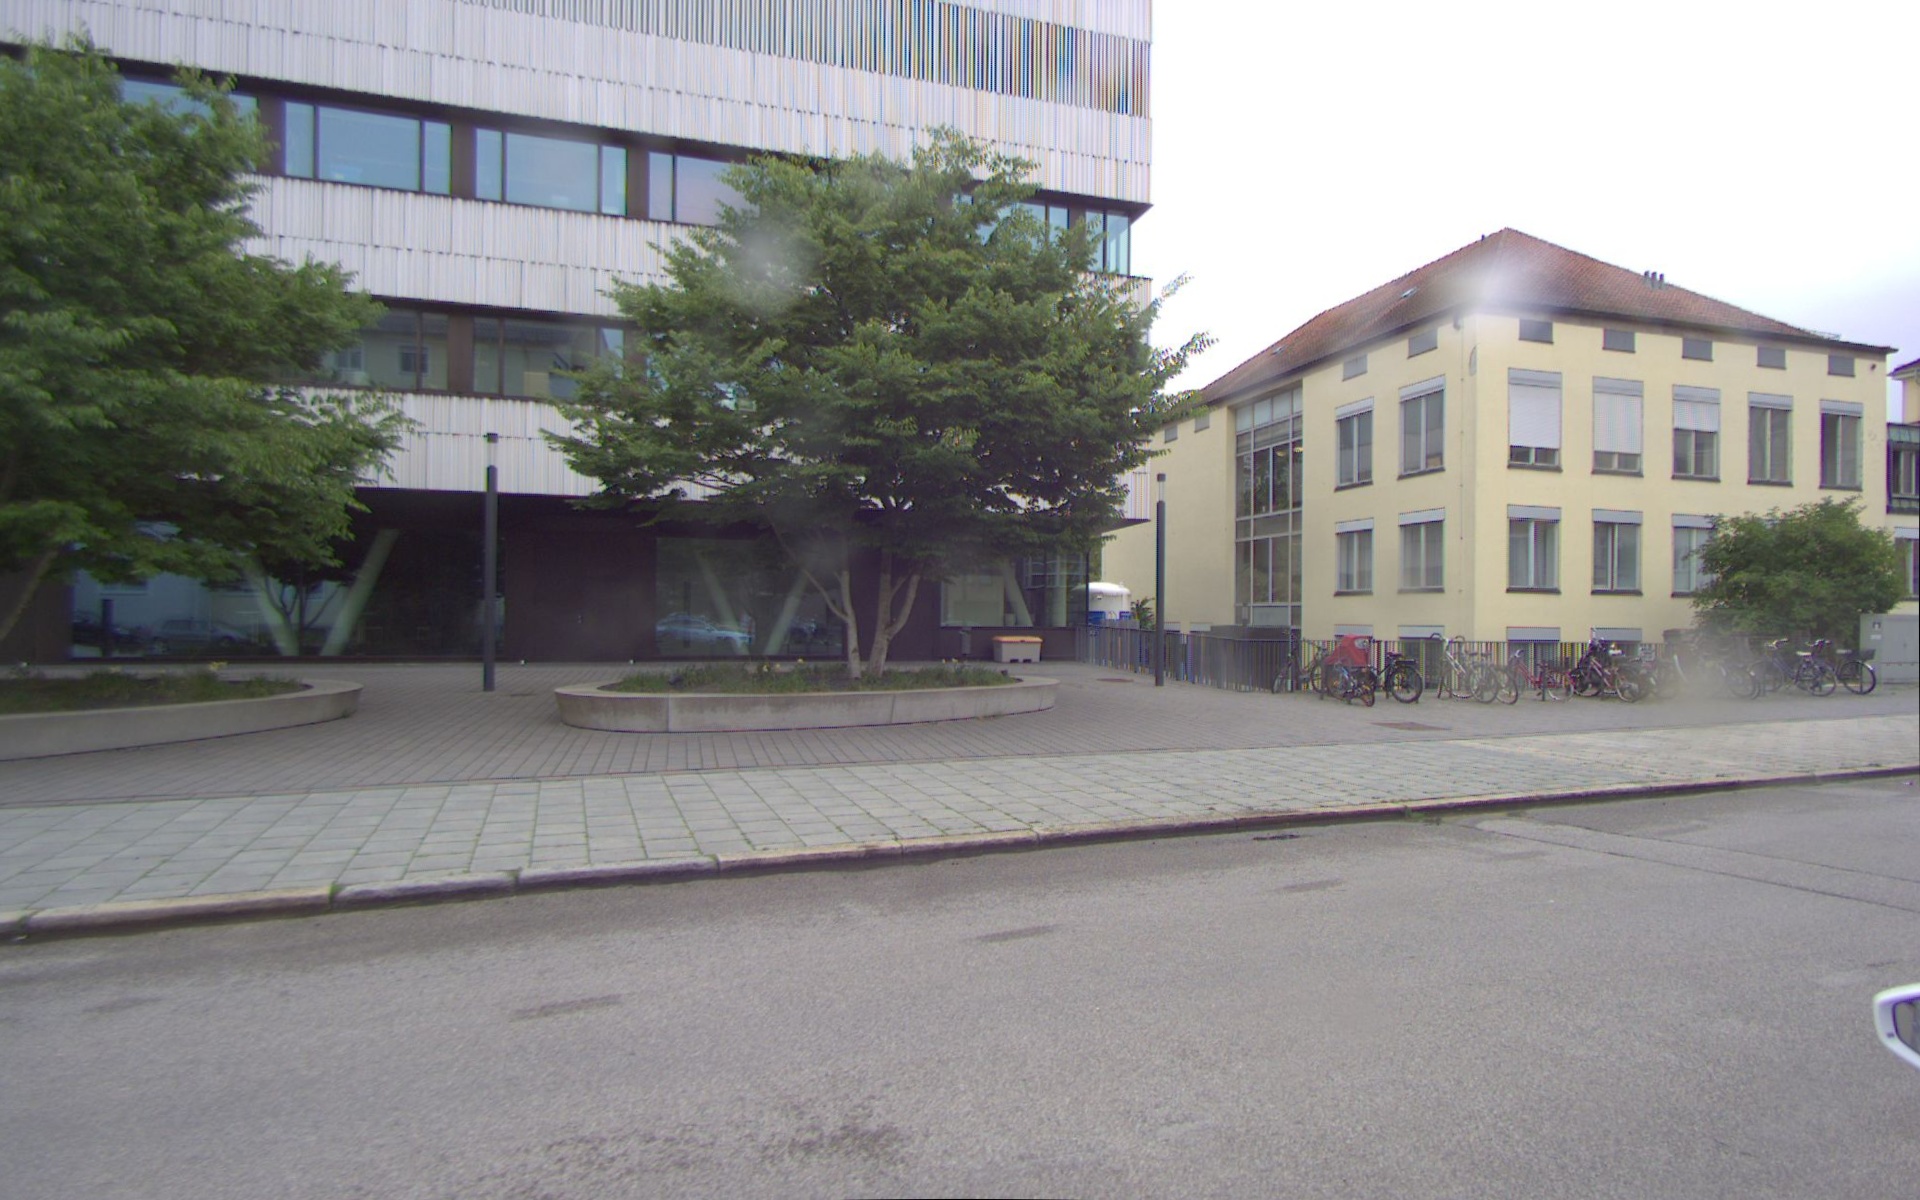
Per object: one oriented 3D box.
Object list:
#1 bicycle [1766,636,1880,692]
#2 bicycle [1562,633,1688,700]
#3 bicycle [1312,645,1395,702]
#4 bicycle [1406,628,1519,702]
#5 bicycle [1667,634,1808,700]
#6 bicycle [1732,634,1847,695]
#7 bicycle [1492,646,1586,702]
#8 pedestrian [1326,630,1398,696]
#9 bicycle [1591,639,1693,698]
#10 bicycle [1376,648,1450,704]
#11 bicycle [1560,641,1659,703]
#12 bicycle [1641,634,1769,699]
[{"bbox_3d":[19.204,1.401,22.415,0.666,1.107,1.906,0,1,-12],"label":"bicycle"},{"bbox_3d":[13.321,1.299,20.236,0.417,1.222,2.556,0,-1,-12],"label":"bicycle"},{"bbox_3d":[7.048,1.294,18.060,0.432,0.874,1.718,0,1,-16],"label":"bicycle"},{"bbox_3d":[9.517,1.197,19.138,0.773,1.244,2.106,0,1,-12],"label":"bicycle"},{"bbox_3d":[16.074,1.354,20.866,0.625,1.156,2.489,0,1,-12],"label":"bicycle"},{"bbox_3d":[17.771,1.351,21.580,0.563,1.147,1.958,0,1,-12],"label":"bicycle"},{"bbox_3d":[11.140,1.399,19.392,0.585,0.928,1.676,0,1,-12],"label":"bicycle"},{"bbox_3d":[7.585,1.165,18.969,1.024,1.178,0.717,0,1,-18],"label":"pedestrian"},{"bbox_3d":[13.891,1.380,20.522,0.530,1.043,1.868,0,1,-12],"label":"bicycle"},{"bbox_3d":[8.148,1.347,18.110,0.432,0.874,1.371,0,1,-16],"label":"bicycle"},{"bbox_3d":[12.700,1.382,19.706,0.498,1.047,1.792,0,1,-12],"label":"bicycle"},{"bbox_3d":[15.231,1.330,20.629,0.571,1.150,2.312,0,1,-12],"label":"bicycle"}]
